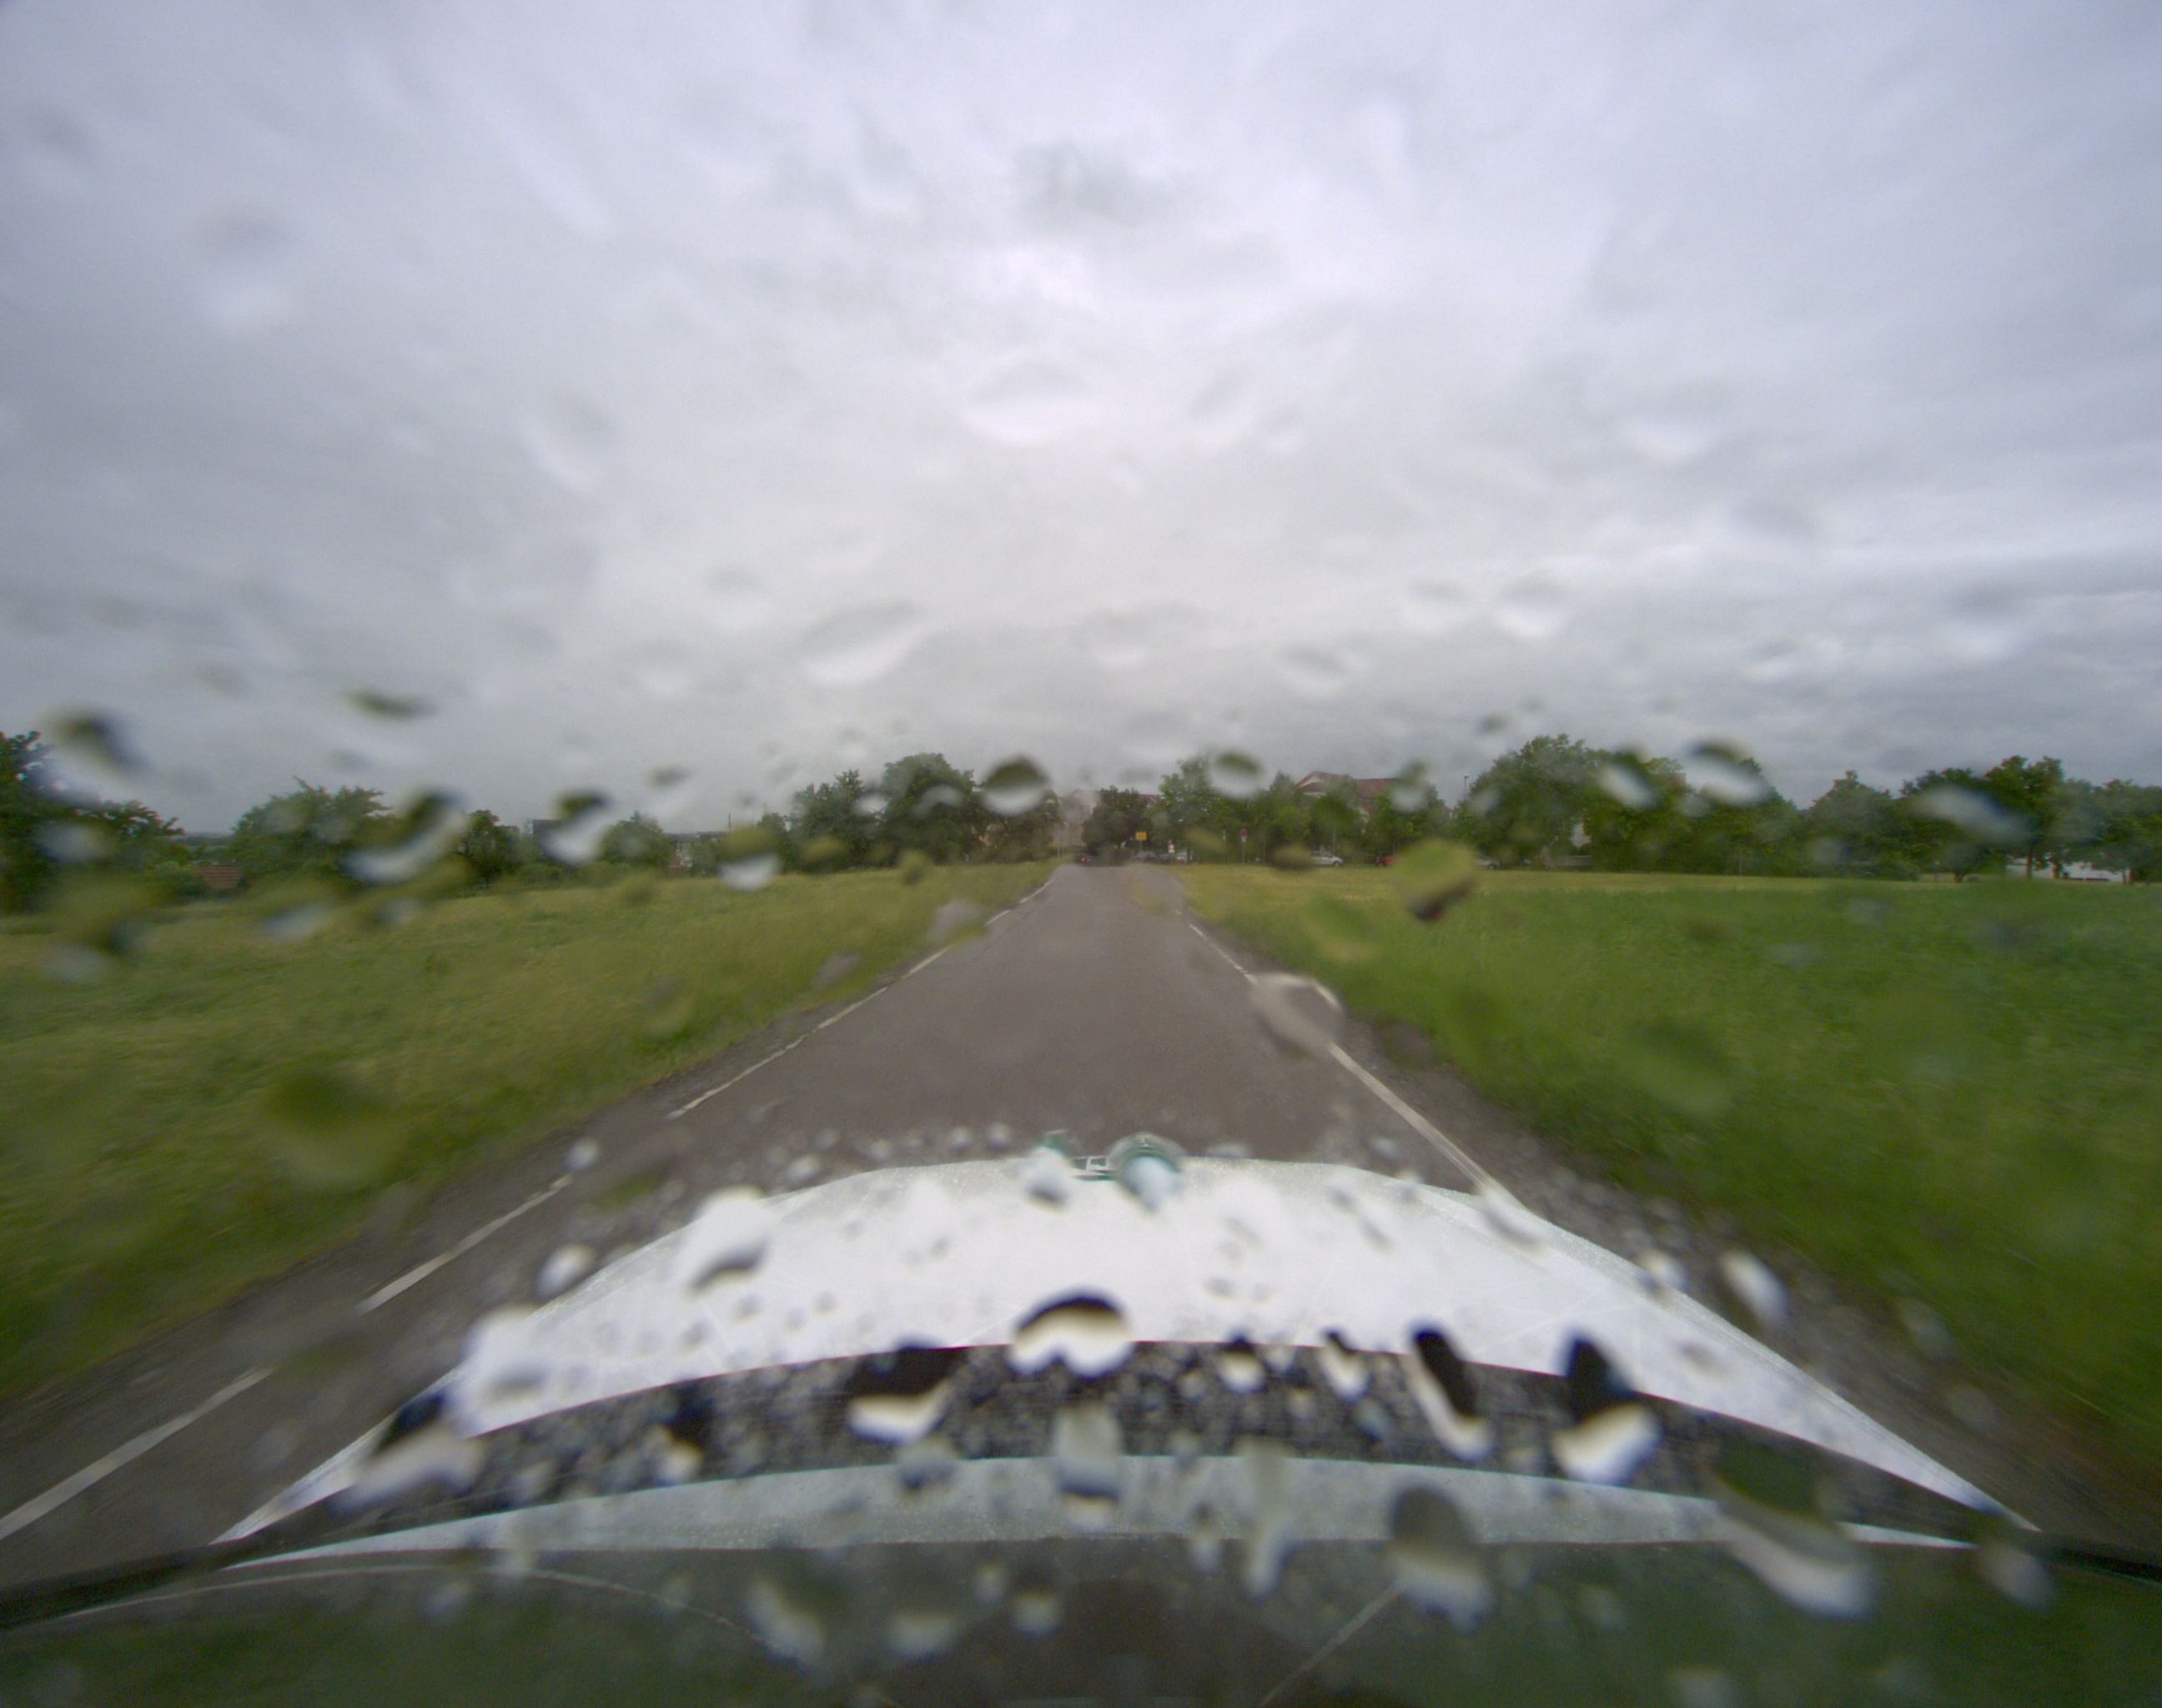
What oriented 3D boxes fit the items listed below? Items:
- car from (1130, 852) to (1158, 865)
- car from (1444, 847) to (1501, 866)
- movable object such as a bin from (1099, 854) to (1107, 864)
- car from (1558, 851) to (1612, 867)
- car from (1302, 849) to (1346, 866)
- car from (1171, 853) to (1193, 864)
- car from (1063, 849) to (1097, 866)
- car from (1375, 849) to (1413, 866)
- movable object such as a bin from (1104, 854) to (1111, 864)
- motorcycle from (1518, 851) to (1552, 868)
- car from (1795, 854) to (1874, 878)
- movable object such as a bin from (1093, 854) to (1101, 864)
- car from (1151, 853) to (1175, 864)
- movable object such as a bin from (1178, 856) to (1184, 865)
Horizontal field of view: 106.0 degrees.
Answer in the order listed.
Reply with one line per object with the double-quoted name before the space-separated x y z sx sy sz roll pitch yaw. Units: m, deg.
"car" 7.732 0.502 100.125 1.758 1.518 4.163 2 1 30
"car" 32.456 0.215 67.648 3.949 1.552 1.859 1 0 14
"movable object such as a bin" 2.441 0.528 88.903 0.688 1.075 0.605 -1 0 22
"car" 40.466 0.418 65.431 3.294 1.281 1.740 0 0 13
"car" 21.140 0.320 70.832 3.513 1.479 1.688 -1 -1 19
"car" 13.590 0.592 109.523 1.496 1.476 3.294 2 1 33
"car" -0.138 0.344 79.410 1.697 1.552 3.660 0 -1 -31
"car" 26.522 0.267 69.159 2.977 1.436 1.561 0 -1 19
"movable object such as a bin" 2.937 0.534 90.068 0.688 1.067 0.582 -1 0 22
"motorcycle" 36.757 0.413 65.966 2.242 1.302 0.975 1 0 13
"car" 57.326 0.914 62.021 3.961 1.607 1.968 3 1 11
"movable object such as a bin" 1.760 0.531 89.169 0.659 1.073 0.547 -1 0 23
"car" 10.653 0.591 105.202 1.619 1.409 3.627 2 1 32
"movable object such as a bin" 11.349 0.747 92.467 0.565 0.931 0.533 0 -1 35
